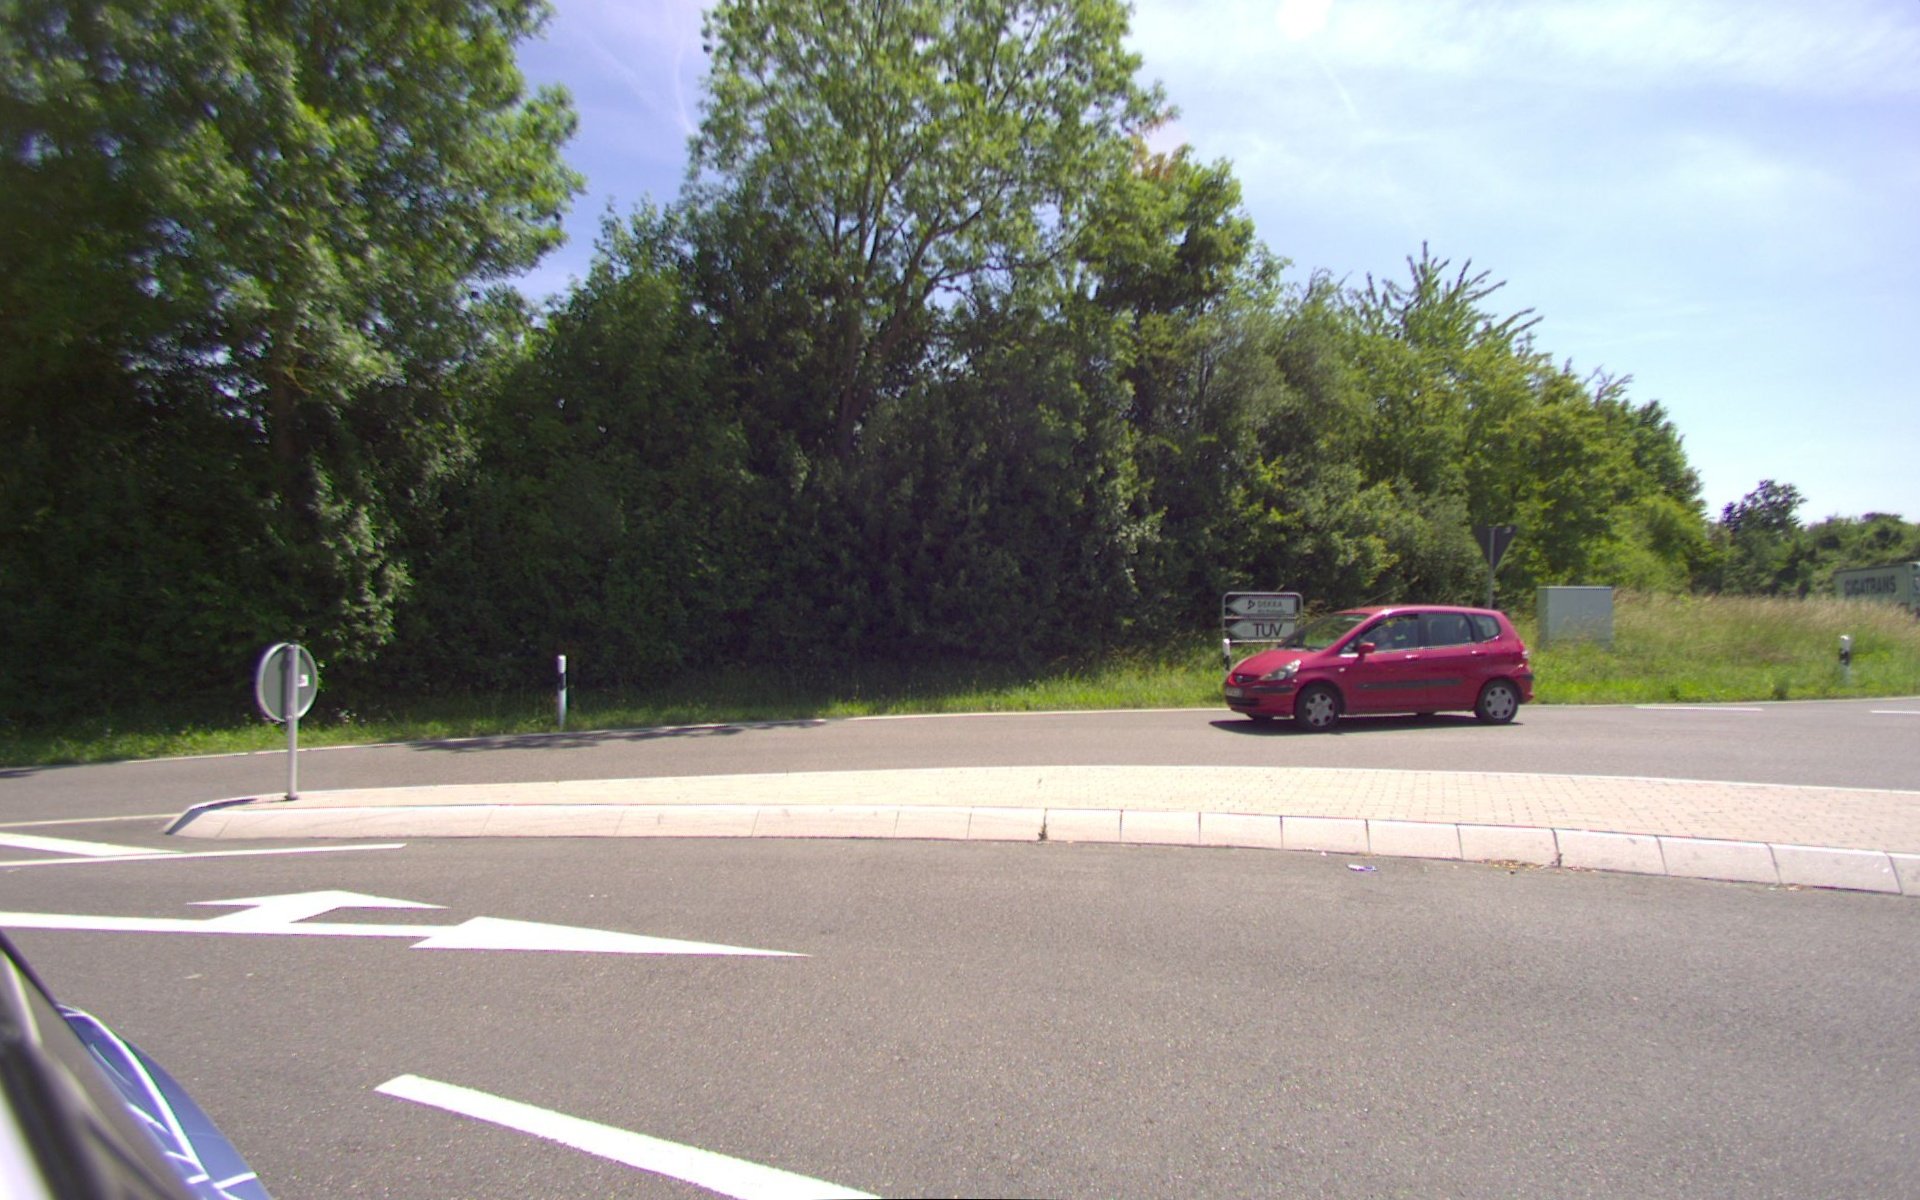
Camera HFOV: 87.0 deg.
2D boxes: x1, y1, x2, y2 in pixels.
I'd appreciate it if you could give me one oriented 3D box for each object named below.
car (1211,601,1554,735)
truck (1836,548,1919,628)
[{"bbox_3d":[5.356,0.807,13.042,3.772,1.510,1.553,-1,0,-8],"label":"car"},{"bbox_3d":[58.212,-0.583,61.773,3.129,4.480,16.302,-3,-2,27],"label":"truck"}]
